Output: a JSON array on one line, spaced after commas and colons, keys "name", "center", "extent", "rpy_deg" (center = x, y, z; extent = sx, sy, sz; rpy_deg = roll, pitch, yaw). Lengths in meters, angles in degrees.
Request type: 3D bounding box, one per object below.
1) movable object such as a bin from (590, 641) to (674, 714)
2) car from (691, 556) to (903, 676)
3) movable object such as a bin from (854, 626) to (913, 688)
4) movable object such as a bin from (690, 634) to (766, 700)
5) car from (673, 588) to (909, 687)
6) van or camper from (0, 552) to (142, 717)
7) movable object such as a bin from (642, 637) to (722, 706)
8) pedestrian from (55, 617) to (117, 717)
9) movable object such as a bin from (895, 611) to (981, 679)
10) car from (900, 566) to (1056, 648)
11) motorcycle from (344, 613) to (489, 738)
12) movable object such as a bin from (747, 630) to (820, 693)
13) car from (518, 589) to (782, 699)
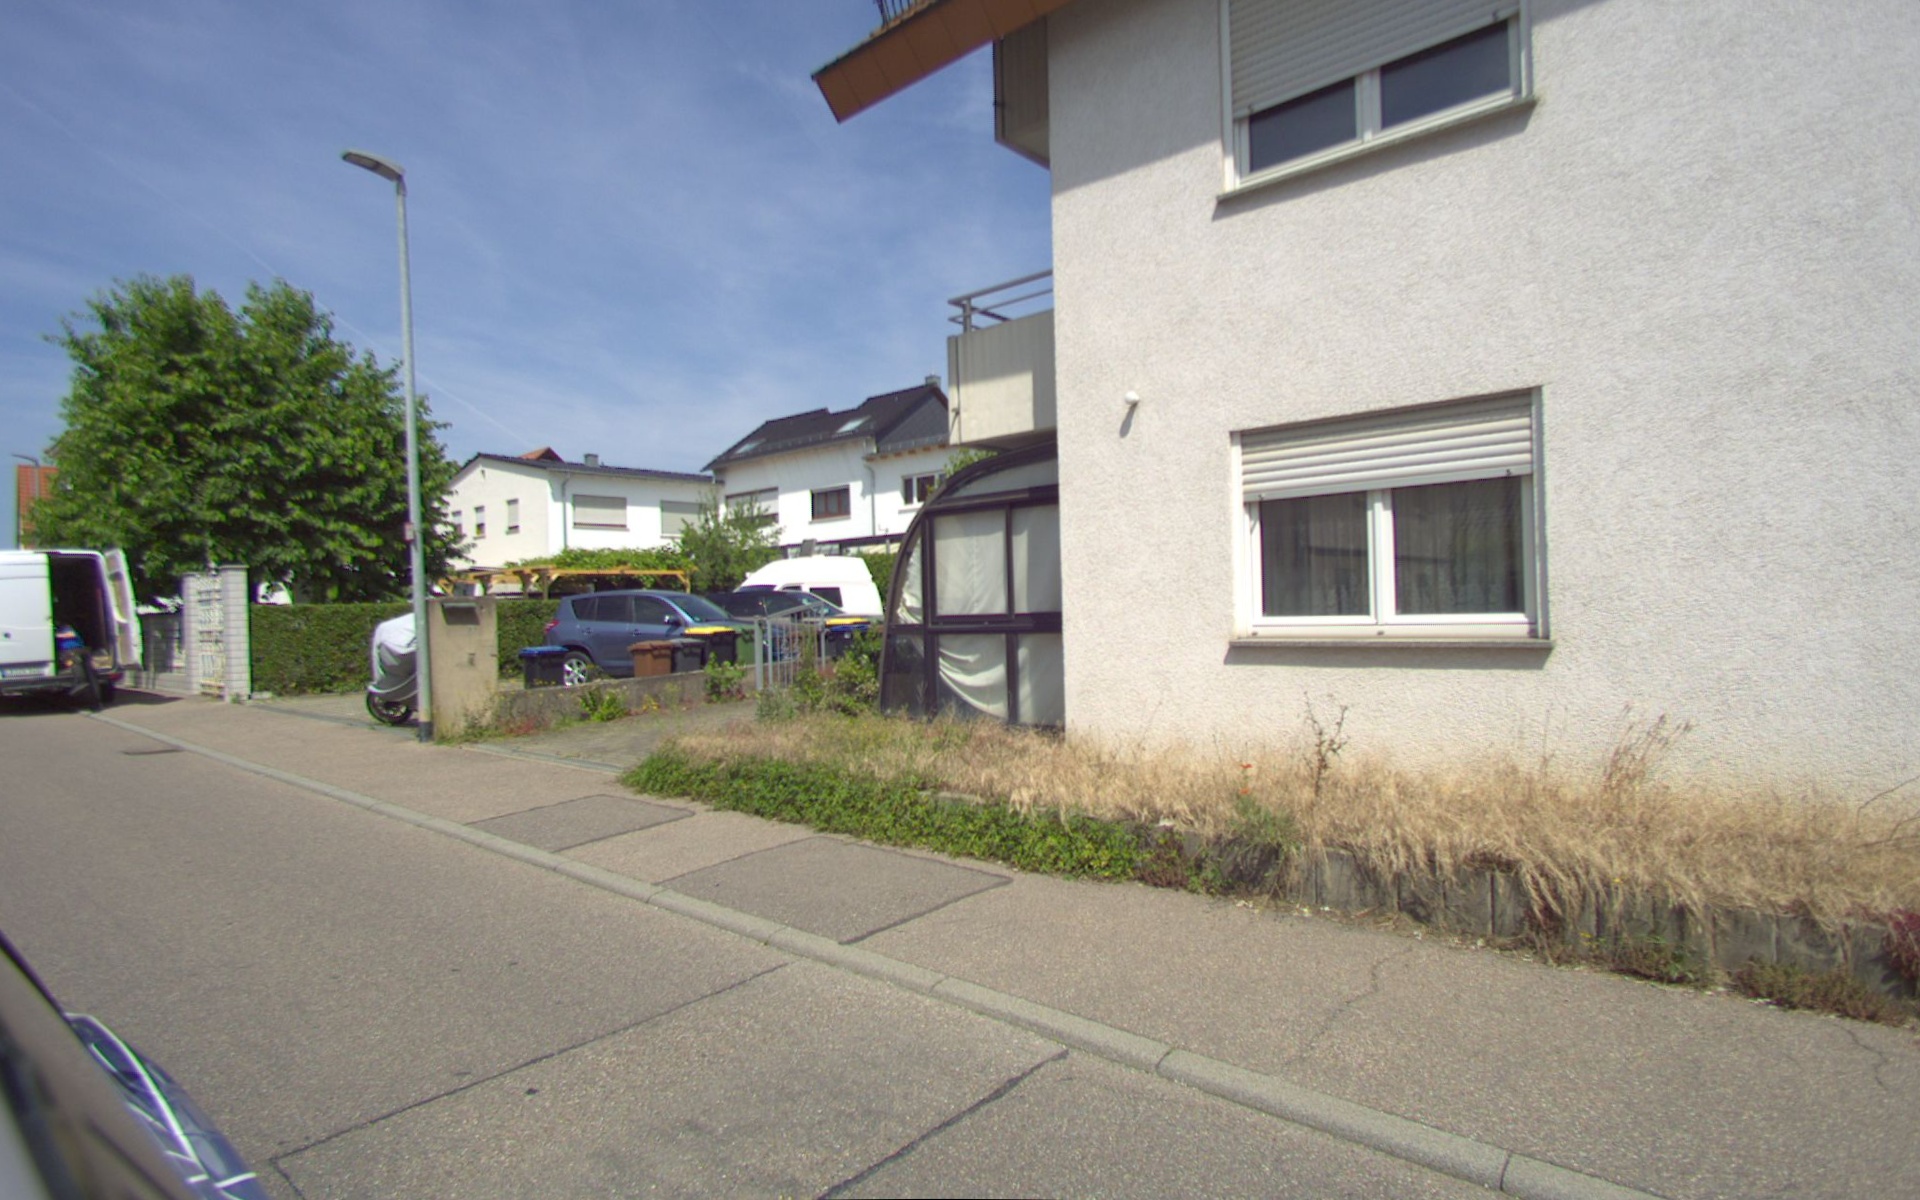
[{"name": "movable object such as a bin", "center": [-4.449, 1.029, 13.745], "extent": [0.773, 0.912, 0.792], "rpy_deg": [-2, -1, 40]}, {"name": "car", "center": [-3.688, 0.332, 23.640], "extent": [1.964, 2.511, 4.755], "rpy_deg": [-2, -1, 39]}, {"name": "movable object such as a bin", "center": [-1.186, 0.875, 15.802], "extent": [0.478, 0.905, 0.804], "rpy_deg": [-2, 0, 39]}, {"name": "movable object such as a bin", "center": [-3.439, 0.978, 15.003], "extent": [0.773, 0.912, 0.792], "rpy_deg": [-2, -1, 40]}, {"name": "car", "center": [-3.176, 0.690, 18.956], "extent": [4.083, 1.691, 1.720], "rpy_deg": [-1, 0, 24]}, {"name": "van or camper", "center": [-17.307, 0.606, 18.657], "extent": [6.801, 2.591, 2.163], "rpy_deg": [-2, 0, 40]}, {"name": "movable object such as a bin", "center": [-3.943, 0.992, 14.368], "extent": [0.773, 0.912, 0.792], "rpy_deg": [-2, -1, 40]}, {"name": "pedestrian", "center": [-14.178, 1.071, 16.423], "extent": [0.725, 1.529, 0.567], "rpy_deg": [-2, 2, 39]}, {"name": "movable object such as a bin", "center": [-0.354, 0.735, 16.877], "extent": [0.859, 1.049, 1.173], "rpy_deg": [-2, 0, 39]}, {"name": "car", "center": [0.464, 0.154, 23.354], "extent": [3.317, 1.691, 1.769], "rpy_deg": [-3, 0, 10]}, {"name": "motorcycle", "center": [-6.773, 0.886, 12.556], "extent": [2.351, 1.403, 0.775], "rpy_deg": [-2, -1, 41]}, {"name": "movable object such as a bin", "center": [-2.746, 0.943, 15.743], "extent": [0.772, 0.912, 0.792], "rpy_deg": [-2, -1, 38]}, {"name": "car", "center": [-5.169, 0.729, 17.002], "extent": [3.903, 1.691, 1.765], "rpy_deg": [-1, 0, 16]}]
